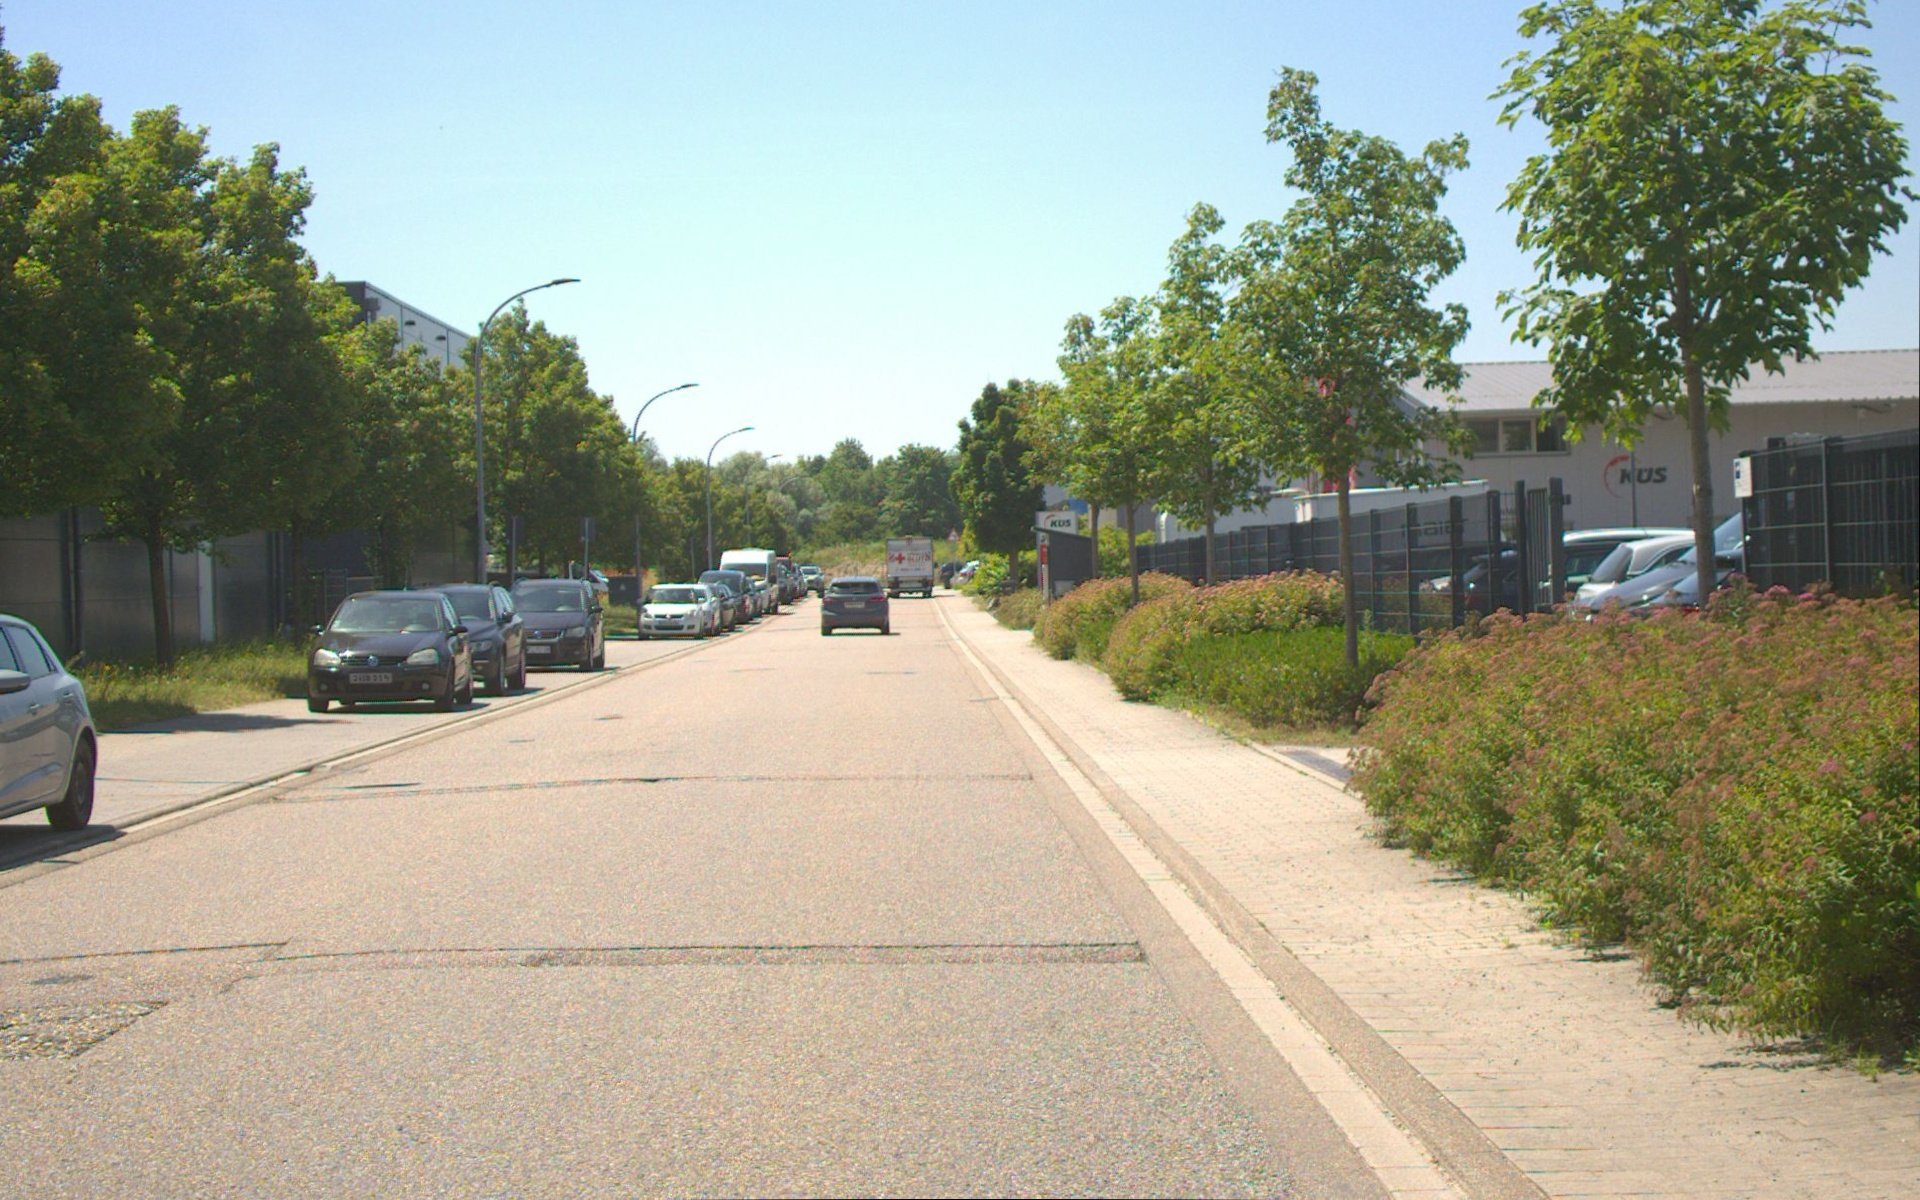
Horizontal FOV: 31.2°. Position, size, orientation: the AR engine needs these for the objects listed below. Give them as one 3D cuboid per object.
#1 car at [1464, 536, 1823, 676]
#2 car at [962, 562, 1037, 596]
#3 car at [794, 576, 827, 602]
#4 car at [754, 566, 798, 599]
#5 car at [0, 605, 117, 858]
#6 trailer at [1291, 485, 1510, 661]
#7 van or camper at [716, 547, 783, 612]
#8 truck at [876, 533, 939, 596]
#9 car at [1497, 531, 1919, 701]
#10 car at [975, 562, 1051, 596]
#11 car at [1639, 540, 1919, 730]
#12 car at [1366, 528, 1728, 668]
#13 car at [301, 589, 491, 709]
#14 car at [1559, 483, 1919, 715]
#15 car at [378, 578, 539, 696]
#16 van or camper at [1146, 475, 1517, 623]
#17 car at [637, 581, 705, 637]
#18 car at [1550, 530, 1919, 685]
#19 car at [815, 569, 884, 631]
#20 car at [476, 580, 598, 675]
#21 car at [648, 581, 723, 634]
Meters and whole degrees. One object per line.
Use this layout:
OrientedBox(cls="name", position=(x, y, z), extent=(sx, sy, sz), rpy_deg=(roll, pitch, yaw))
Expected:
OrientedBox(cls="car", position=(7.698, 0.065, 38.932), extent=(3.664, 1.417, 1.645), rpy_deg=(-2, 0, -1))
OrientedBox(cls="car", position=(2.113, -1.112, 183.707), extent=(3.875, 1.744, 1.752), rpy_deg=(1, 0, -3))
OrientedBox(cls="car", position=(-9.201, -0.686, 212.144), extent=(1.799, 1.482, 4.252), rpy_deg=(-1, 1, 1))
OrientedBox(cls="car", position=(-8.685, -0.835, 162.373), extent=(1.799, 1.482, 4.252), rpy_deg=(-1, 1, 1))
OrientedBox(cls="car", position=(-6.385, 0.761, 20.550), extent=(1.771, 1.426, 3.940), rpy_deg=(0, 0, -1))
OrientedBox(cls="trailer", position=(6.410, -0.393, 50.153), extent=(2.822, 2.395, 1.420), rpy_deg=(-3, 0, -5))
OrientedBox(cls="van or camper", position=(-8.227, -0.807, 134.773), extent=(2.078, 2.474, 6.130), rpy_deg=(1, 0, 1))
OrientedBox(cls="truck", position=(-2.522, -1.705, 166.024), extent=(2.933, 2.964, 6.419), rpy_deg=(1, 0, 0))
OrientedBox(cls="car", position=(7.576, 0.136, 33.538), extent=(4.344, 1.444, 1.603), rpy_deg=(-3, 0, -1))
OrientedBox(cls="car", position=(2.791, -1.093, 181.014), extent=(3.875, 1.744, 1.752), rpy_deg=(1, 0, -3))
OrientedBox(cls="car", position=(7.843, 0.223, 27.974), extent=(4.215, 1.417, 1.765), rpy_deg=(-2, 0, -2))
OrientedBox(cls="car", position=(7.056, -0.032, 41.584), extent=(3.987, 1.517, 1.823), rpy_deg=(-2, 0, -1))
OrientedBox(cls="car", position=(-7.048, 0.582, 43.316), extent=(1.771, 1.426, 4.201), rpy_deg=(0, 0, -1))
OrientedBox(cls="car", position=(8.118, -0.075, 30.643), extent=(5.113, 1.867, 1.903), rpy_deg=(-3, 0, -1))
OrientedBox(cls="car", position=(-7.218, 0.501, 49.845), extent=(1.770, 1.606, 4.852), rpy_deg=(-1, 0, -2))
OrientedBox(cls="van or camper", position=(7.115, -0.973, 66.461), extent=(6.757, 2.576, 2.636), rpy_deg=(-2, 0, -1))
OrientedBox(cls="car", position=(-7.821, 0.226, 93.327), extent=(1.720, 1.471, 3.858), rpy_deg=(-1, 0, -3))
OrientedBox(cls="car", position=(8.569, 0.057, 36.353), extent=(4.279, 1.440, 1.755), rpy_deg=(-3, 0, -1))
OrientedBox(cls="car", position=(-2.956, -0.008, 92.757), extent=(1.789, 1.618, 3.809), rpy_deg=(1, 0, -1))
OrientedBox(cls="car", position=(-7.520, 0.459, 61.437), extent=(1.770, 1.606, 4.248), rpy_deg=(-1, 0, -2))
OrientedBox(cls="car", position=(-7.842, 0.203, 98.589), extent=(1.799, 1.471, 4.555), rpy_deg=(-1, 0, 0))
